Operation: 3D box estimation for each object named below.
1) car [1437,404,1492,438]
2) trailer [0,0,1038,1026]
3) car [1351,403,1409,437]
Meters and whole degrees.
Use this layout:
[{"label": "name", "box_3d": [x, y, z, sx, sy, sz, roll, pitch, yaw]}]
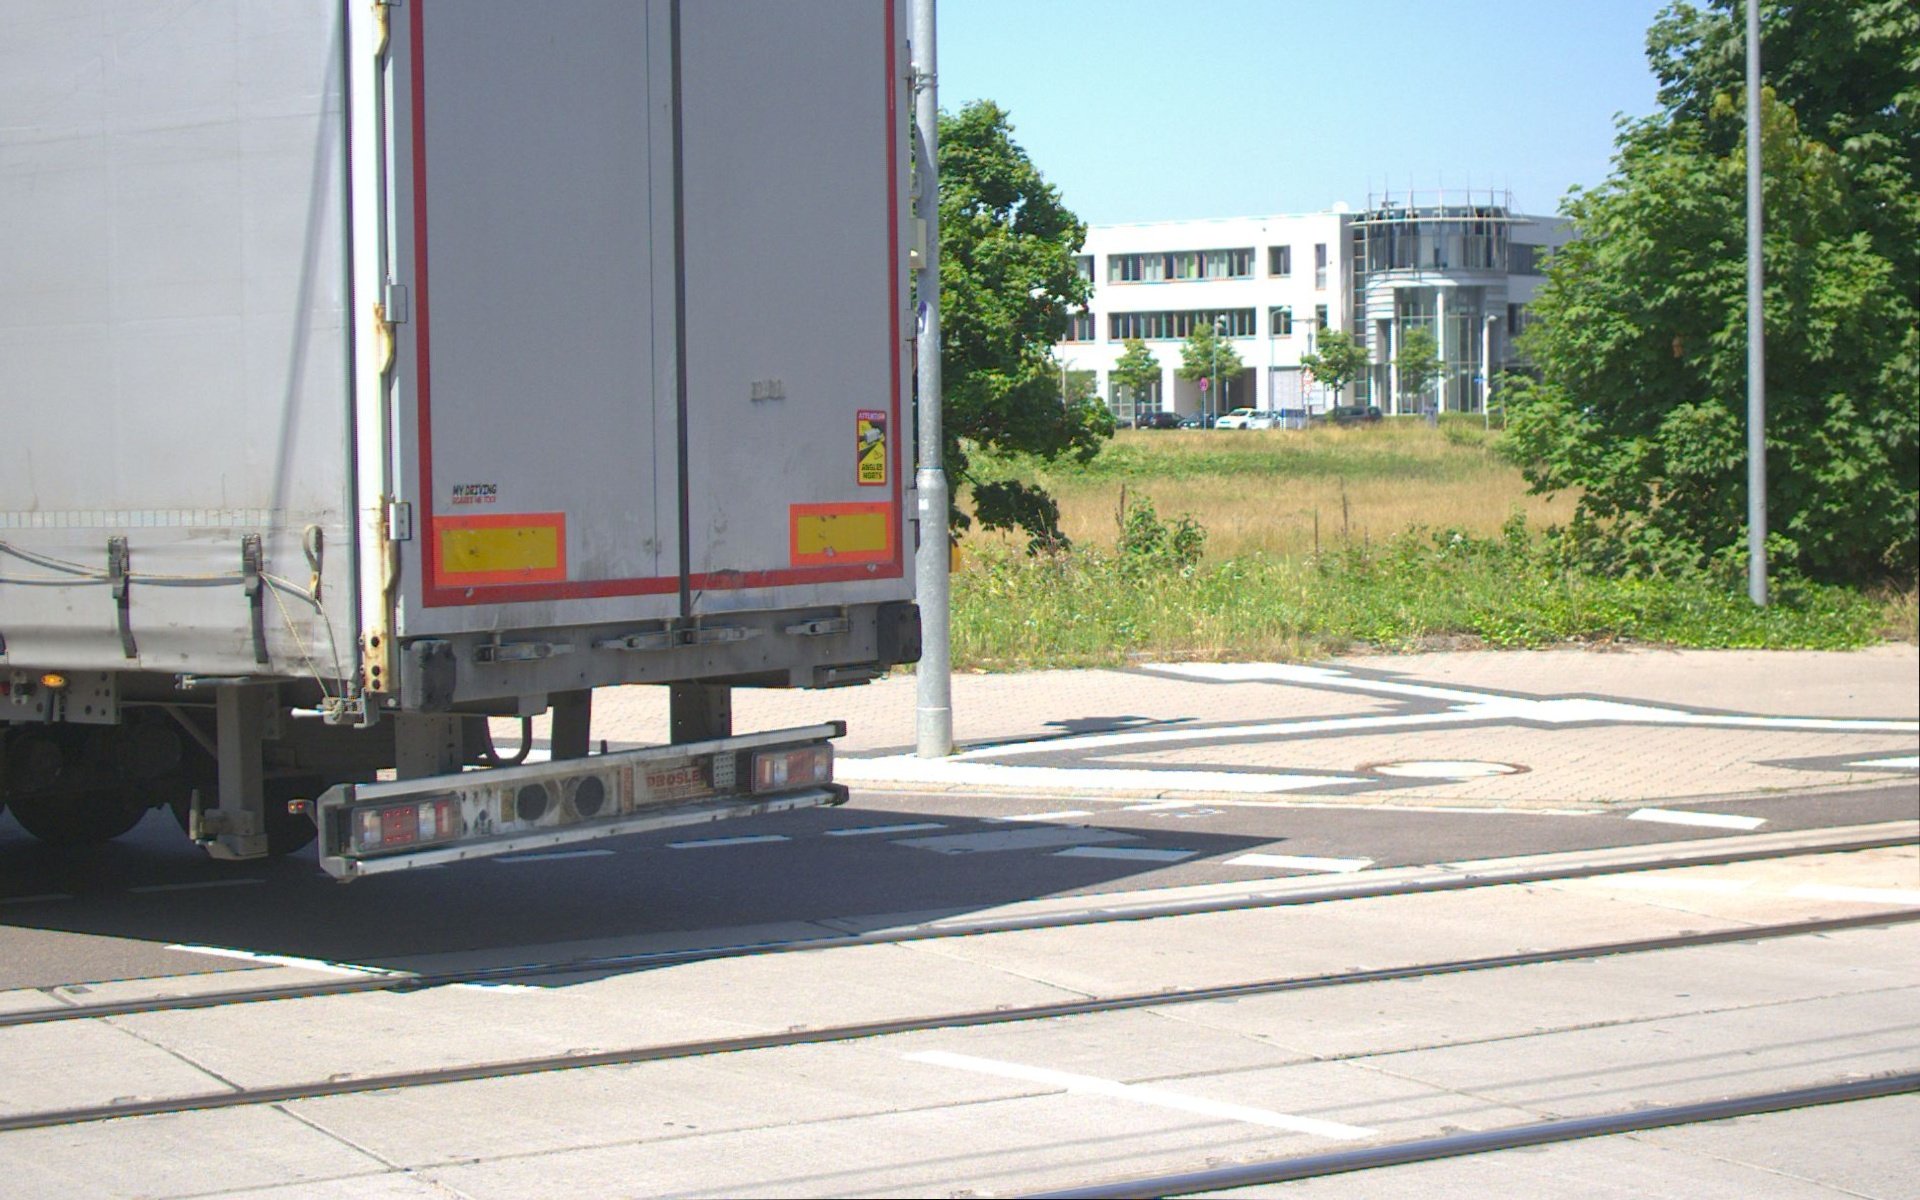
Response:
[{"label": "car", "box_3d": [30.624, -10.859, 208.649, 1.997, 2.006, 3.994, 1, 3, 29]}, {"label": "trailer", "box_3d": [-4.635, -1.082, 13.189, 9.796, 4.055, 3.081, 2, 4, 35]}, {"label": "car", "box_3d": [25.554, -10.972, 209.023, 1.997, 2.006, 3.993, 1, 4, 32]}]
